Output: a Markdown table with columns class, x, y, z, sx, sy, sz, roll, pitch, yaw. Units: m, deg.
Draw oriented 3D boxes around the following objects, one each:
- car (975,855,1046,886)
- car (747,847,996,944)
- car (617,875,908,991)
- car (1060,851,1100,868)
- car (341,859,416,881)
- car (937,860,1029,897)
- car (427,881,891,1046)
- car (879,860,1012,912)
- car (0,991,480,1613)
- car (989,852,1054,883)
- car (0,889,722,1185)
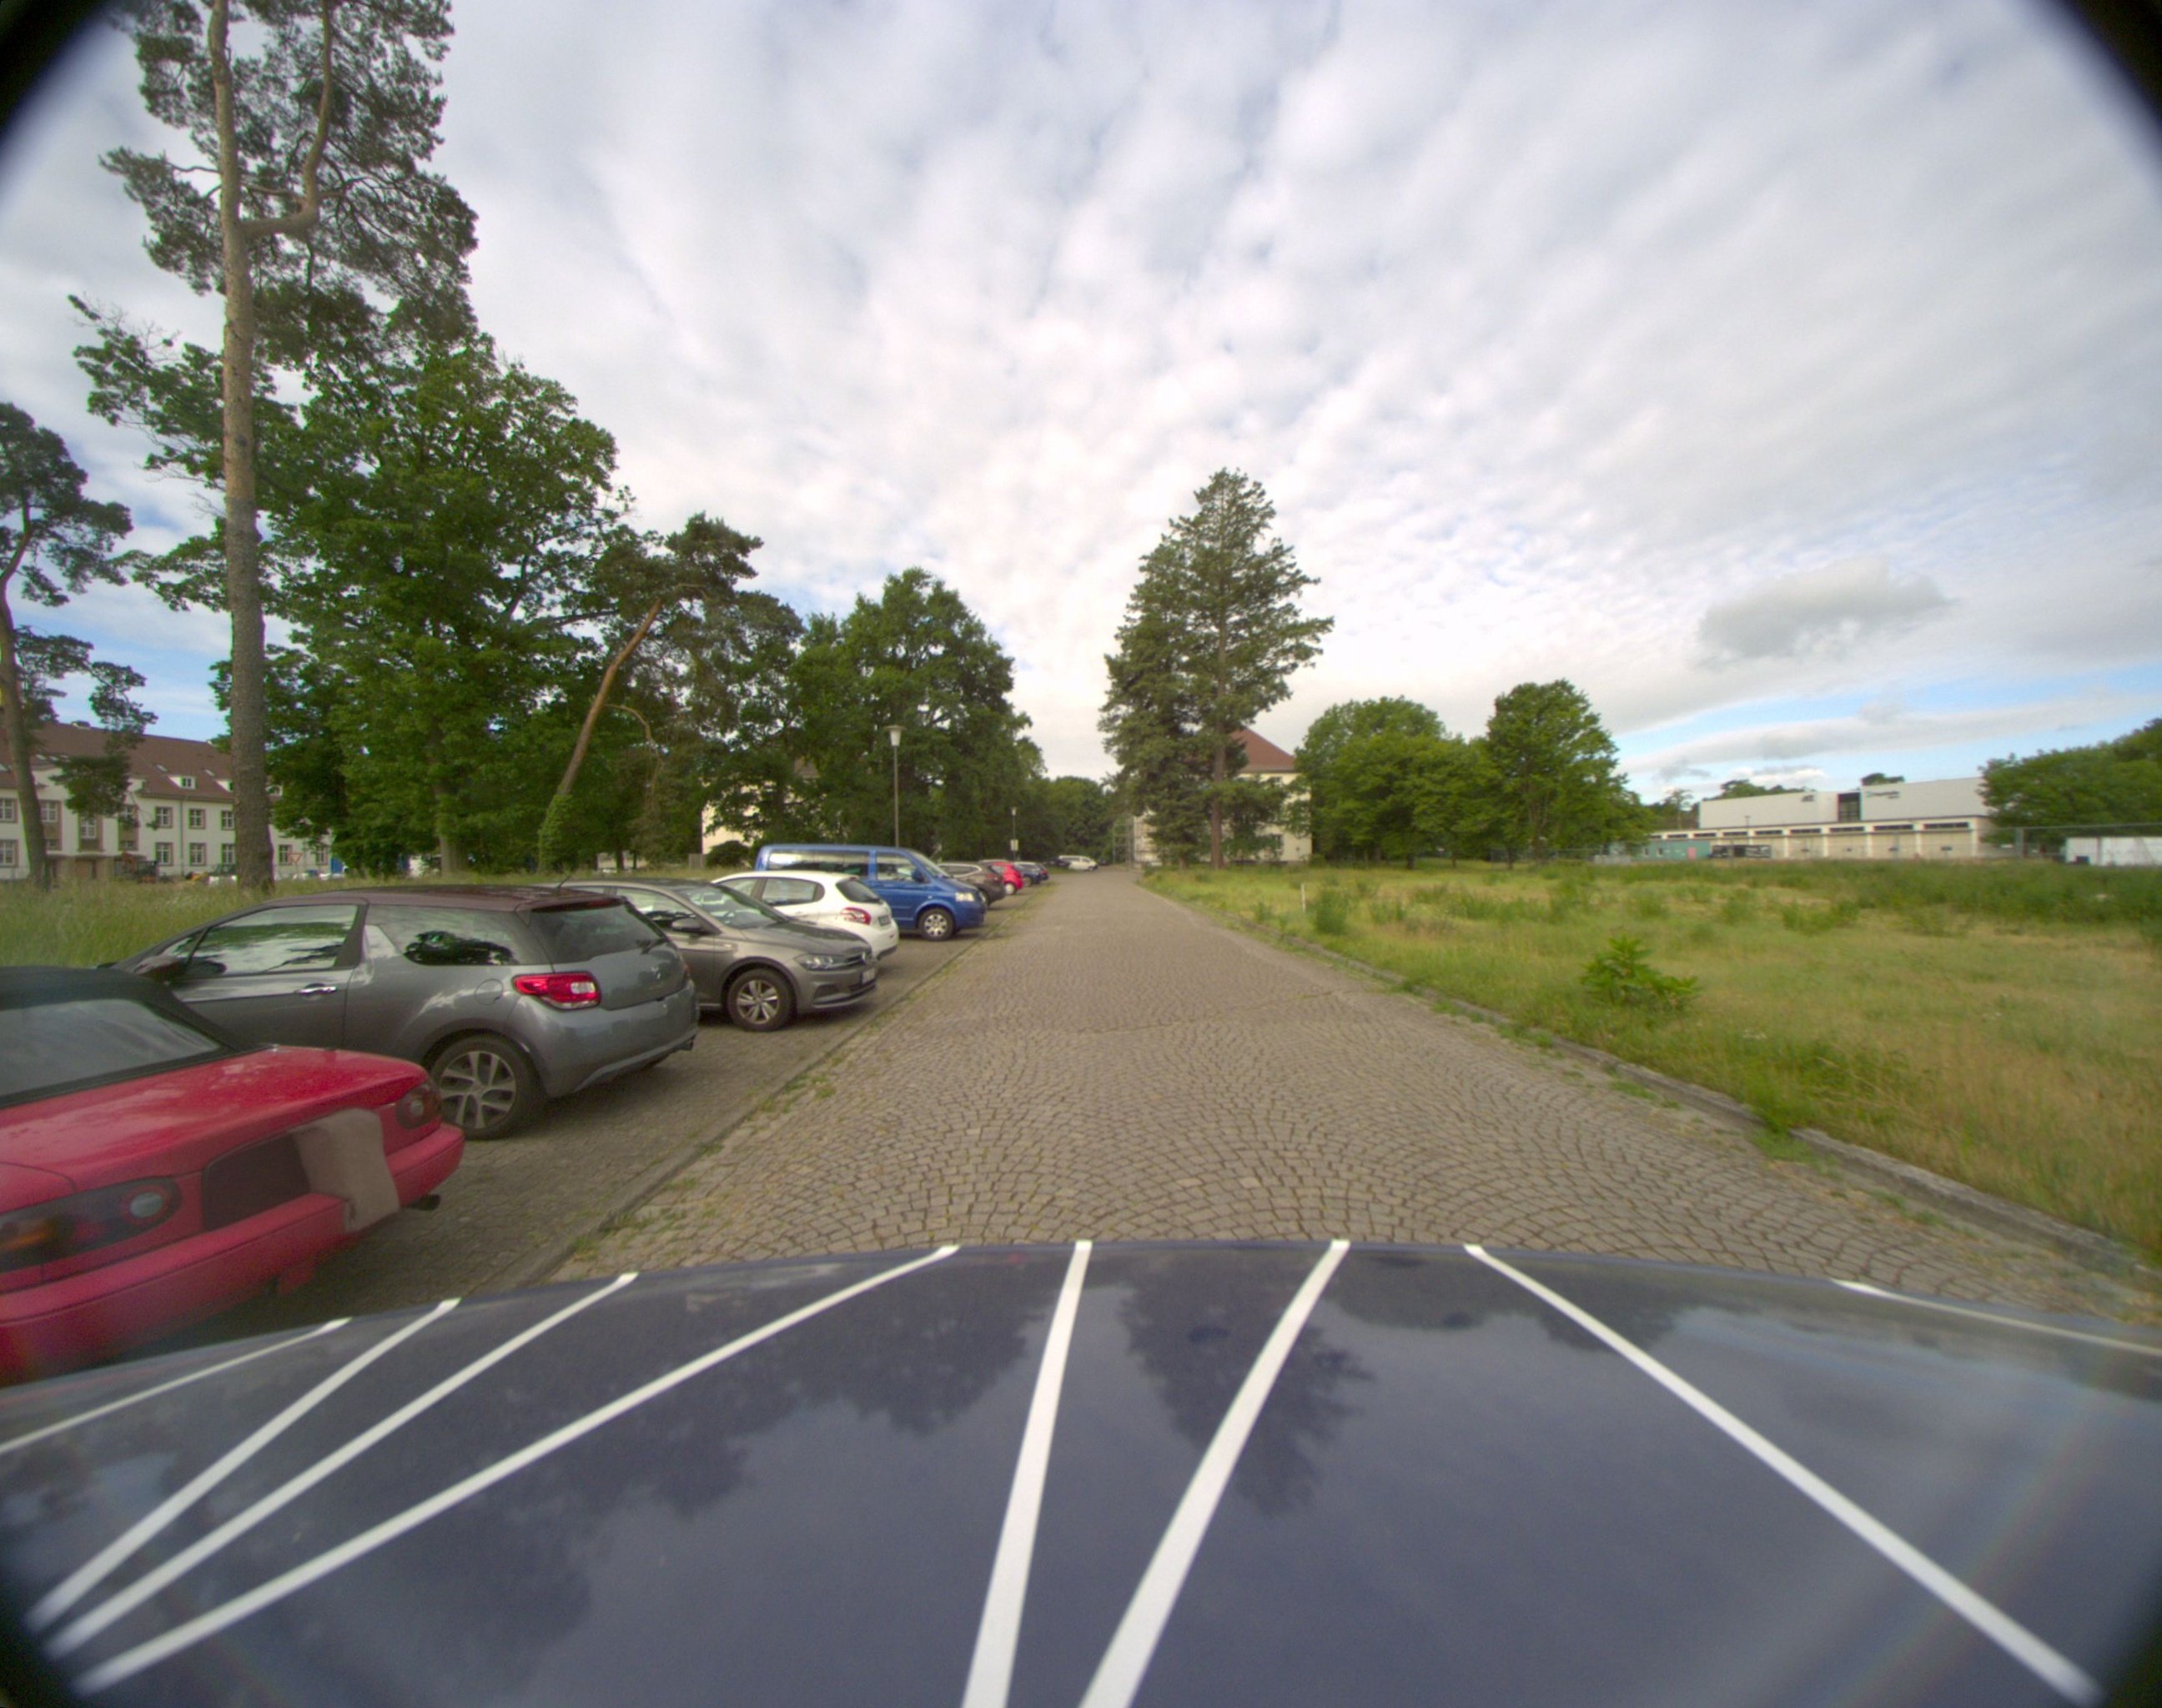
| class | x | y | z | sx | sy | sz | roll | pitch | yaw |
| --- | --- | --- | --- | --- | --- | --- | --- | --- | --- |
| car | -4.173 | 0.965 | 45.737 | 4.007 | 1.752 | 2.000 | -1 | 0 | 2 |
| car | -4.304 | 0.824 | 16.214 | 4.749 | 1.927 | 2.000 | 0 | 0 | 0 |
| car | -4.372 | 1.061 | 10.790 | 3.408 | 1.443 | 1.637 | -1 | 0 | 1 |
| car | -0.089 | 0.718 | 98.974 | 5.030 | 2.164 | 2.000 | -1 | 0 | 2 |
| car | -67.599 | 1.508 | 73.284 | 2.153 | 2.002 | 5.225 | -1 | 0 | 3 |
| car | -4.516 | 1.099 | 35.490 | 3.997 | 1.521 | 2.000 | -2 | 0 | 1 |
| car | -4.172 | 1.058 | 7.964 | 3.848 | 1.448 | 1.820 | -1 | 0 | 3 |
| car | -4.401 | 1.016 | 25.157 | 3.997 | 1.601 | 2.000 | -1 | 0 | 1 |
| car | -4.276 | 1.173 | 2.388 | 3.600 | 1.200 | 1.495 | -1 | 0 | 1 |
| car | -3.882 | 0.866 | 50.131 | 3.996 | 2.002 | 2.000 | -1 | 0 | 2 |
| car | -4.733 | 1.049 | 5.080 | 3.787 | 1.497 | 1.799 | -1 | 0 | -1 |
